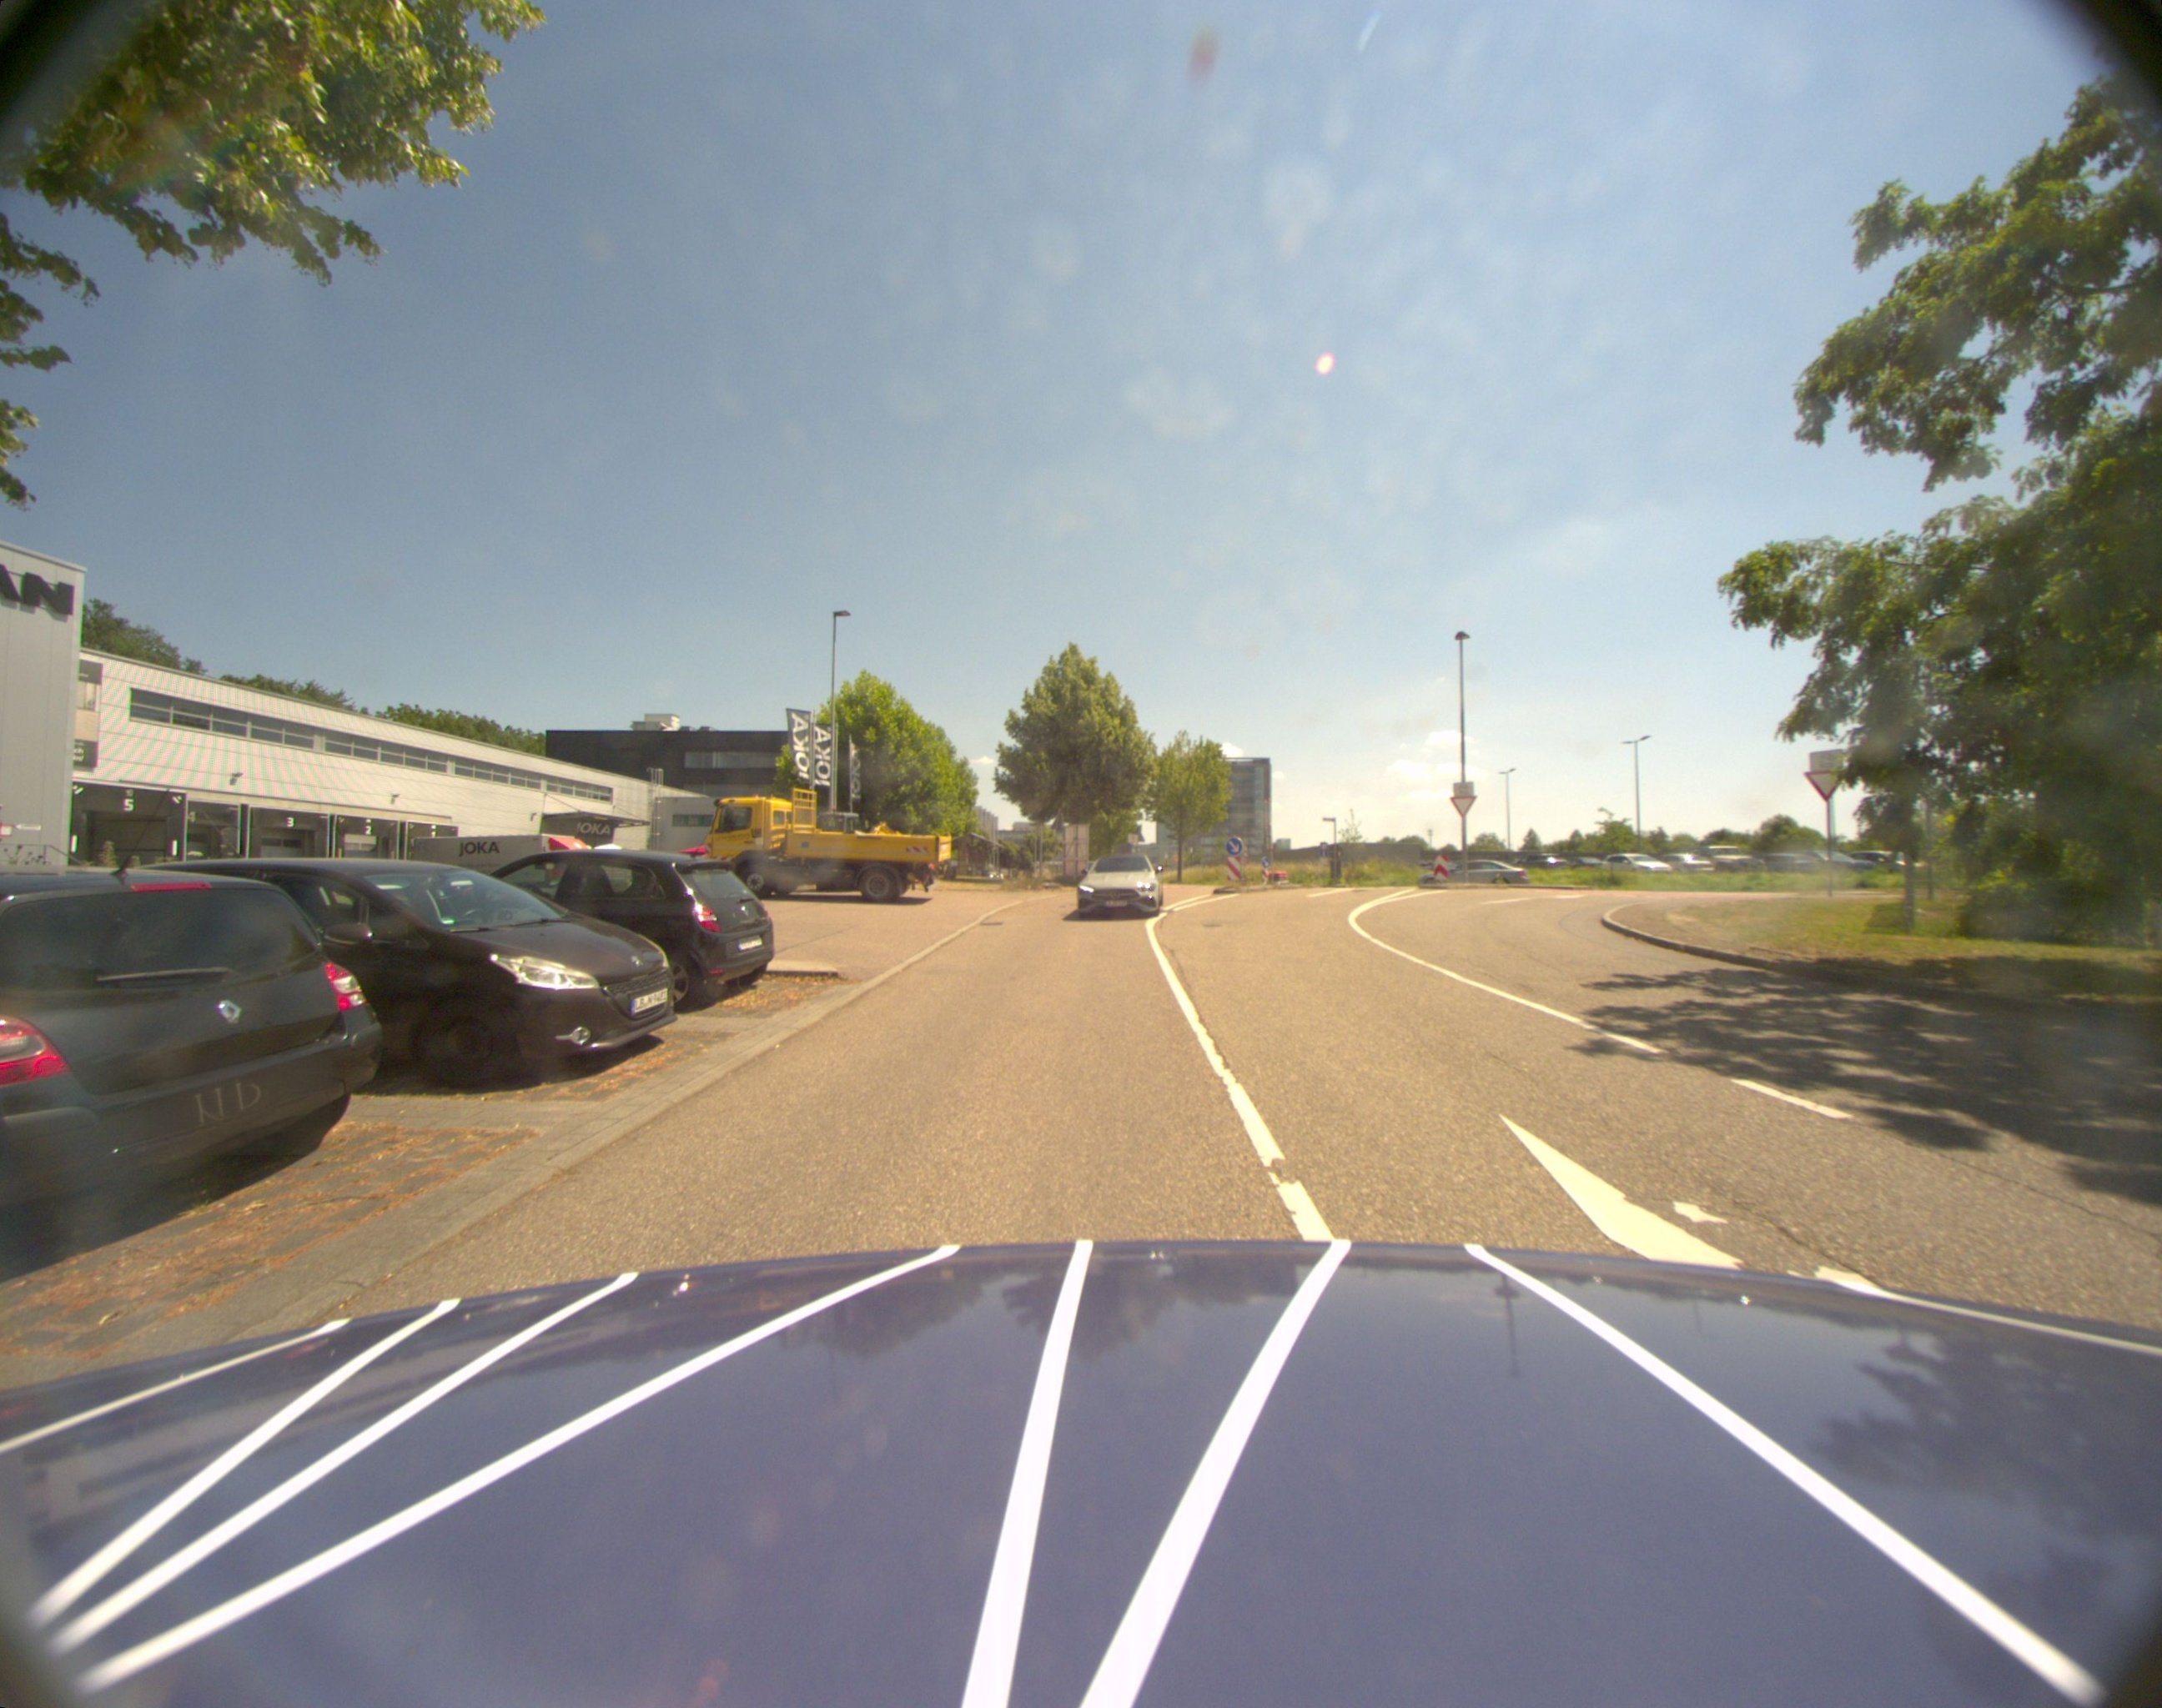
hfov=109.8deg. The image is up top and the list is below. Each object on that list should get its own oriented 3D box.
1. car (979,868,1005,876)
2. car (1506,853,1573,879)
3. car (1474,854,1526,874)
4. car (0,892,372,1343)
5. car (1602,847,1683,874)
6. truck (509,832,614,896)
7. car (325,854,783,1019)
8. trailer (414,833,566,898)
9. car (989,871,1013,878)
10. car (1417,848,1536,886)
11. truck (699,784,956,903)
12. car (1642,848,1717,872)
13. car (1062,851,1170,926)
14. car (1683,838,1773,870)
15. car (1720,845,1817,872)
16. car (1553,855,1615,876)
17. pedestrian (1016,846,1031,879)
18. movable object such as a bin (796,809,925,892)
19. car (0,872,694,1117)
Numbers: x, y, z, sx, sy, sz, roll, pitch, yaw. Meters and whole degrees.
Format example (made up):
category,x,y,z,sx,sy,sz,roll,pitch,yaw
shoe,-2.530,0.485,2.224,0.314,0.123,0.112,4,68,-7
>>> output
category,x,y,z,sx,sy,sz,roll,pitch,yaw
car,-14.194,2.872,121.228,3.889,1.266,1.705,0,-1,0
car,31.368,0.864,52.172,1.776,1.679,4.606,1,-3,0
car,31.424,0.760,57.109,1.652,1.437,3.638,0,-1,-6
car,-5.471,0.928,3.094,3.611,1.470,1.628,0,0,-1
car,30.264,0.364,41.079,1.573,1.289,3.880,-2,-2,2
truck,-29.119,0.611,42.696,4.343,3.429,2.158,-1,-4,-1
car,-5.305,0.778,7.980,3.669,1.454,1.627,2,0,1
trailer,-33.012,0.697,42.612,6.707,3.436,2.179,-1,-4,-1
car,-13.749,3.508,130.636,3.841,1.266,1.610,0,-1,0
car,17.573,0.638,33.826,4.486,1.365,1.678,-4,-6,34
truck,-6.943,-0.276,21.541,6.421,3.118,2.594,0,1,-3
car,32.603,0.356,41.499,1.500,1.174,3.272,-2,-2,1
car,0.993,0.736,18.291,1.896,1.375,4.635,-3,1,11
car,35.217,0.032,41.500,1.874,1.518,3.752,-2,-2,6
car,37.499,0.282,41.557,1.585,1.249,3.948,-2,-2,-2
car,34.047,0.795,51.571,1.651,1.354,3.849,-1,-1,-1
pedestrian,-2.996,0.457,39.502,0.578,1.659,0.532,-3,-4,28
movable object such as a bin,-7.536,-0.124,26.897,1.997,2.566,6.580,-1,0,6
car,-5.128,0.893,5.543,3.780,1.498,1.590,0,0,-1
